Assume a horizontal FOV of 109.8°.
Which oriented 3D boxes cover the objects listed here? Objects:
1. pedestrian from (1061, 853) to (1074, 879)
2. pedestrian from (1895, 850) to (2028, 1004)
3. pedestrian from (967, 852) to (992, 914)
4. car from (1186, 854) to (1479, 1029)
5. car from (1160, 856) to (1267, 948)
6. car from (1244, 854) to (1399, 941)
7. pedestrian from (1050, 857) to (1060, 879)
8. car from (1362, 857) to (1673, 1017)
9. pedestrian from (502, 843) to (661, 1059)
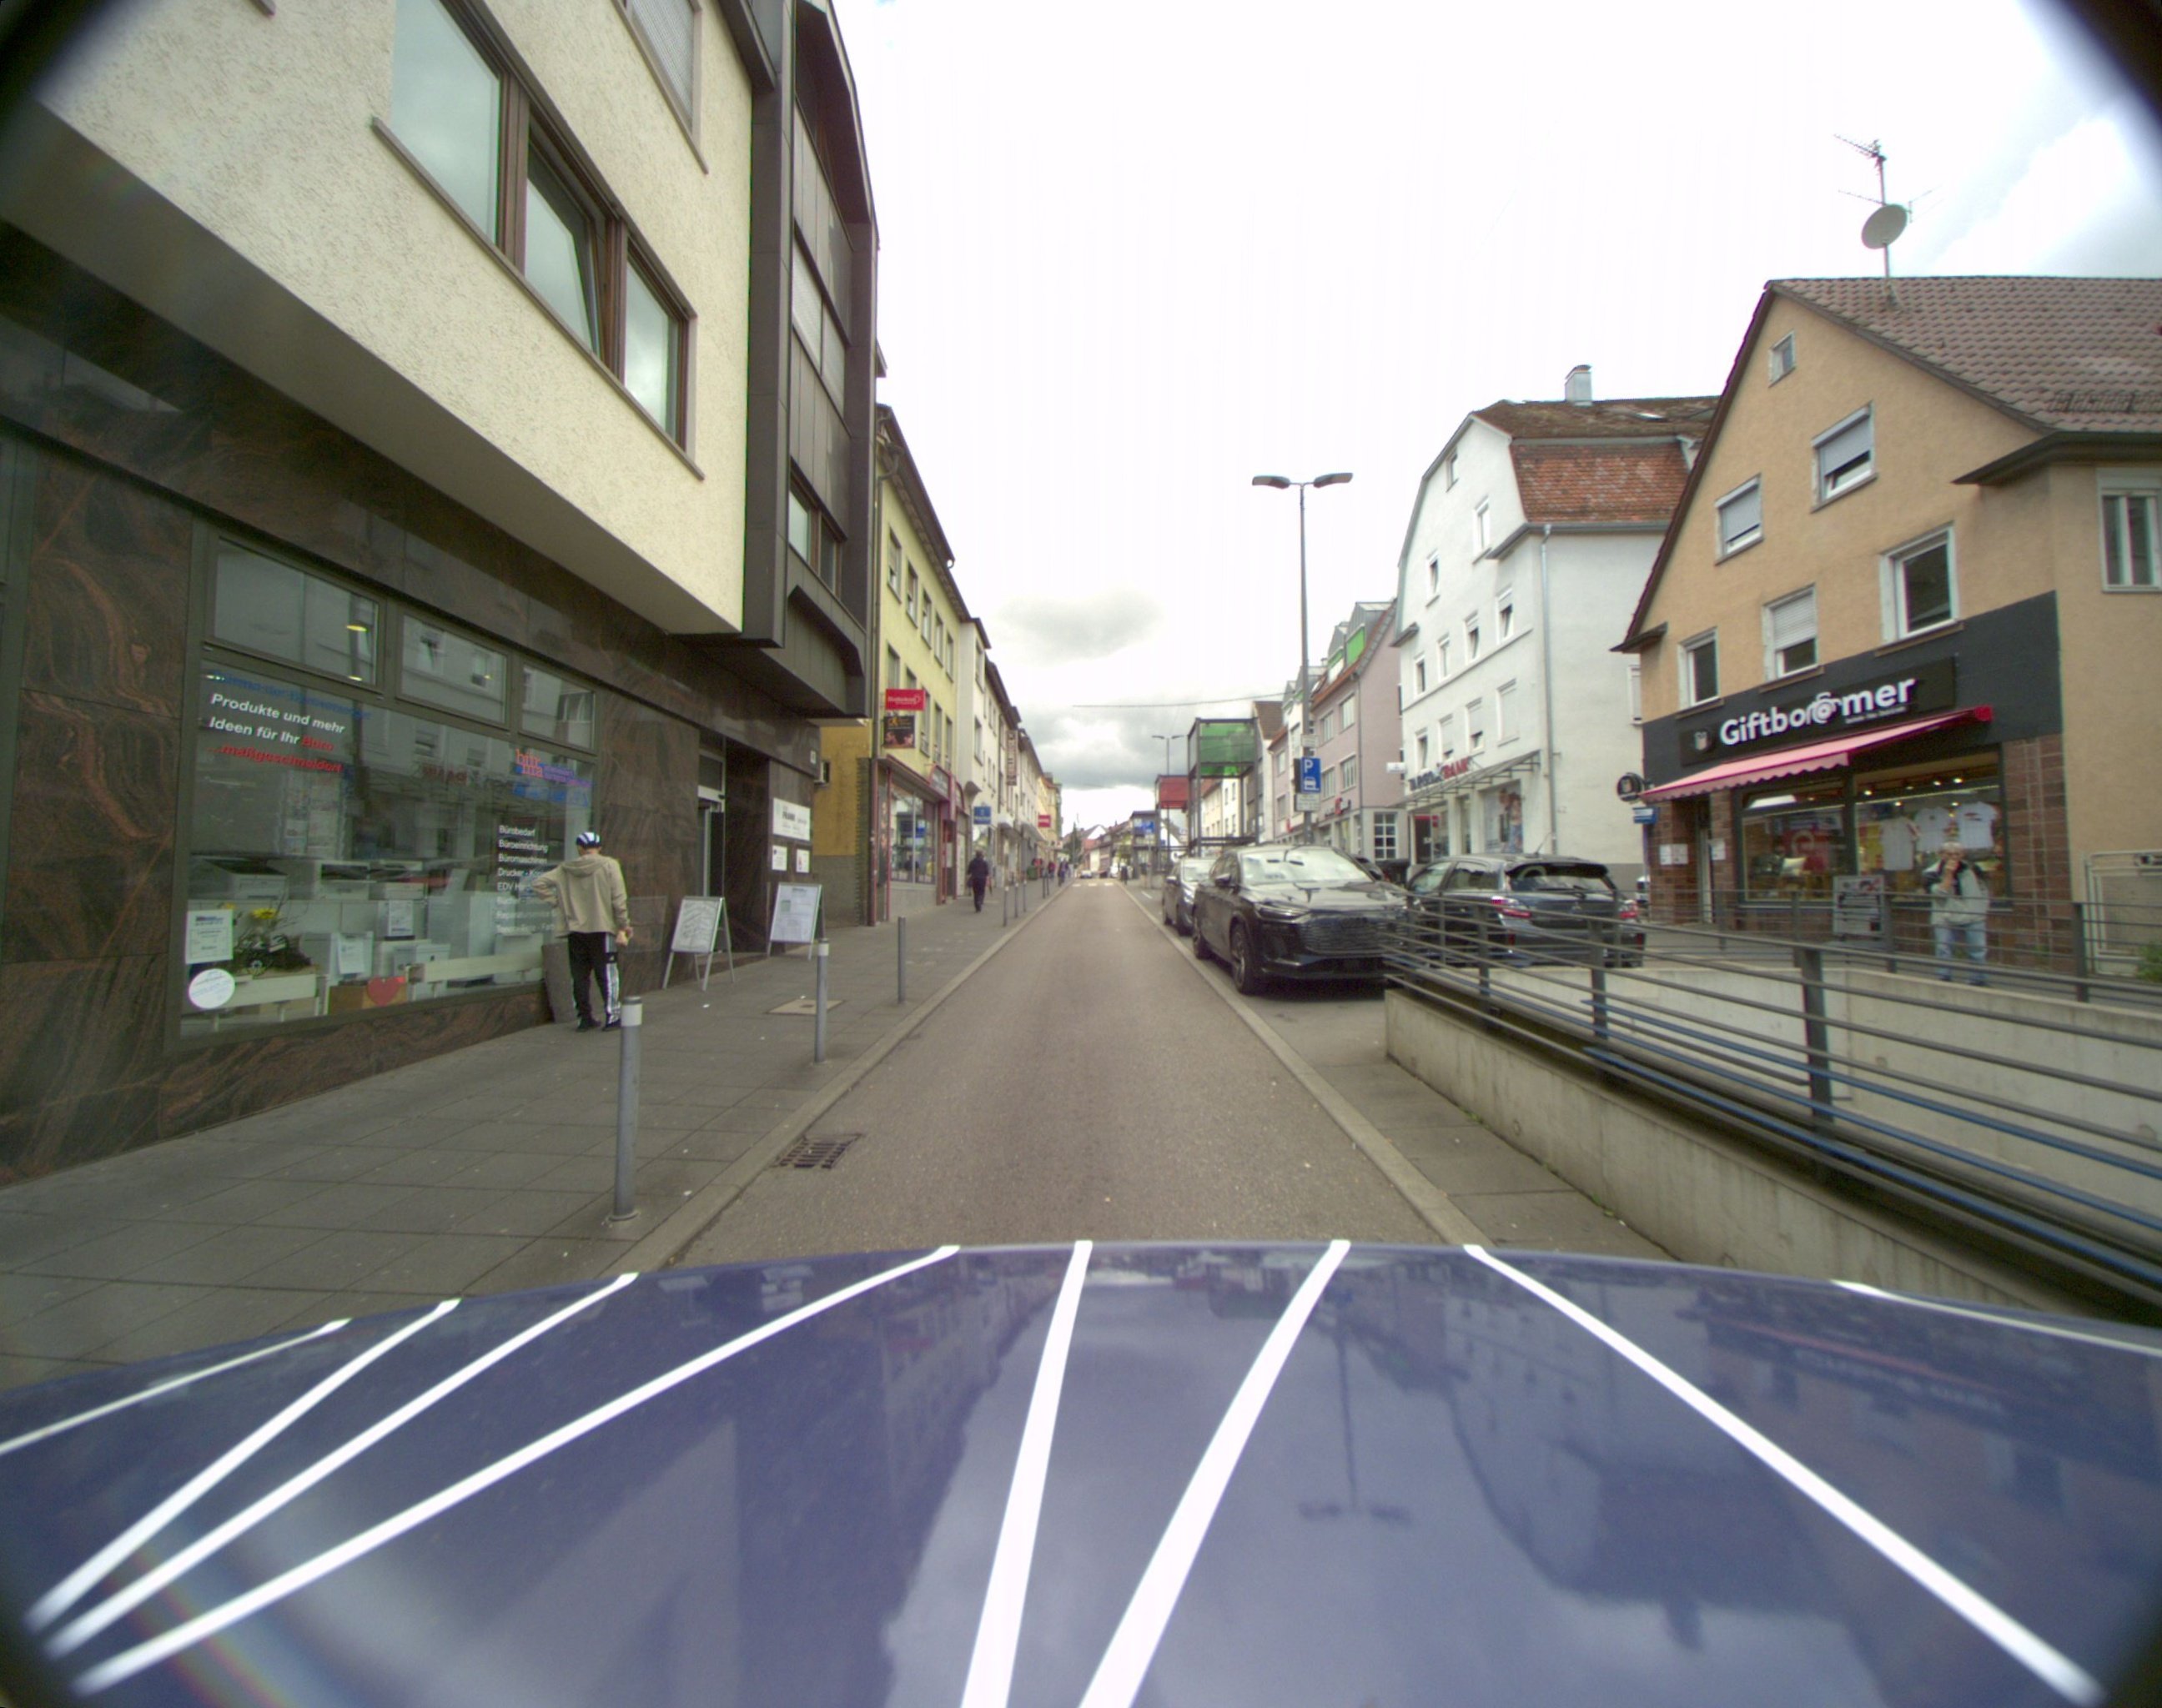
[{"bbox_3d":[-0.928,0.803,51.987,0.761,1.764,0.851,0,1,-6],"label":"pedestrian"},{"bbox_3d":[10.086,0.811,8.729,0.748,1.704,0.664,0,1,1],"label":"pedestrian"},{"bbox_3d":[-2.809,0.785,21.020,0.639,1.689,0.708,0,1,-5],"label":"pedestrian"},{"bbox_3d":[2.637,0.807,9.226,1.999,1.557,4.431,-2,0,-1],"label":"car"},{"bbox_3d":[2.580,0.869,15.478,1.577,1.600,3.533,-2,0,1],"label":"car"},{"bbox_3d":[5.028,0.835,16.633,1.998,1.580,4.494,-2,0,1],"label":"car"},{"bbox_3d":[-1.776,0.956,51.939,0.663,1.519,0.705,0,1,-6],"label":"pedestrian"},{"bbox_3d":[5.124,0.849,9.607,1.703,1.538,3.898,-2,0,1],"label":"car"},{"bbox_3d":[-4.127,0.764,6.342,0.760,1.663,0.780,2,0,-2],"label":"pedestrian"}]
